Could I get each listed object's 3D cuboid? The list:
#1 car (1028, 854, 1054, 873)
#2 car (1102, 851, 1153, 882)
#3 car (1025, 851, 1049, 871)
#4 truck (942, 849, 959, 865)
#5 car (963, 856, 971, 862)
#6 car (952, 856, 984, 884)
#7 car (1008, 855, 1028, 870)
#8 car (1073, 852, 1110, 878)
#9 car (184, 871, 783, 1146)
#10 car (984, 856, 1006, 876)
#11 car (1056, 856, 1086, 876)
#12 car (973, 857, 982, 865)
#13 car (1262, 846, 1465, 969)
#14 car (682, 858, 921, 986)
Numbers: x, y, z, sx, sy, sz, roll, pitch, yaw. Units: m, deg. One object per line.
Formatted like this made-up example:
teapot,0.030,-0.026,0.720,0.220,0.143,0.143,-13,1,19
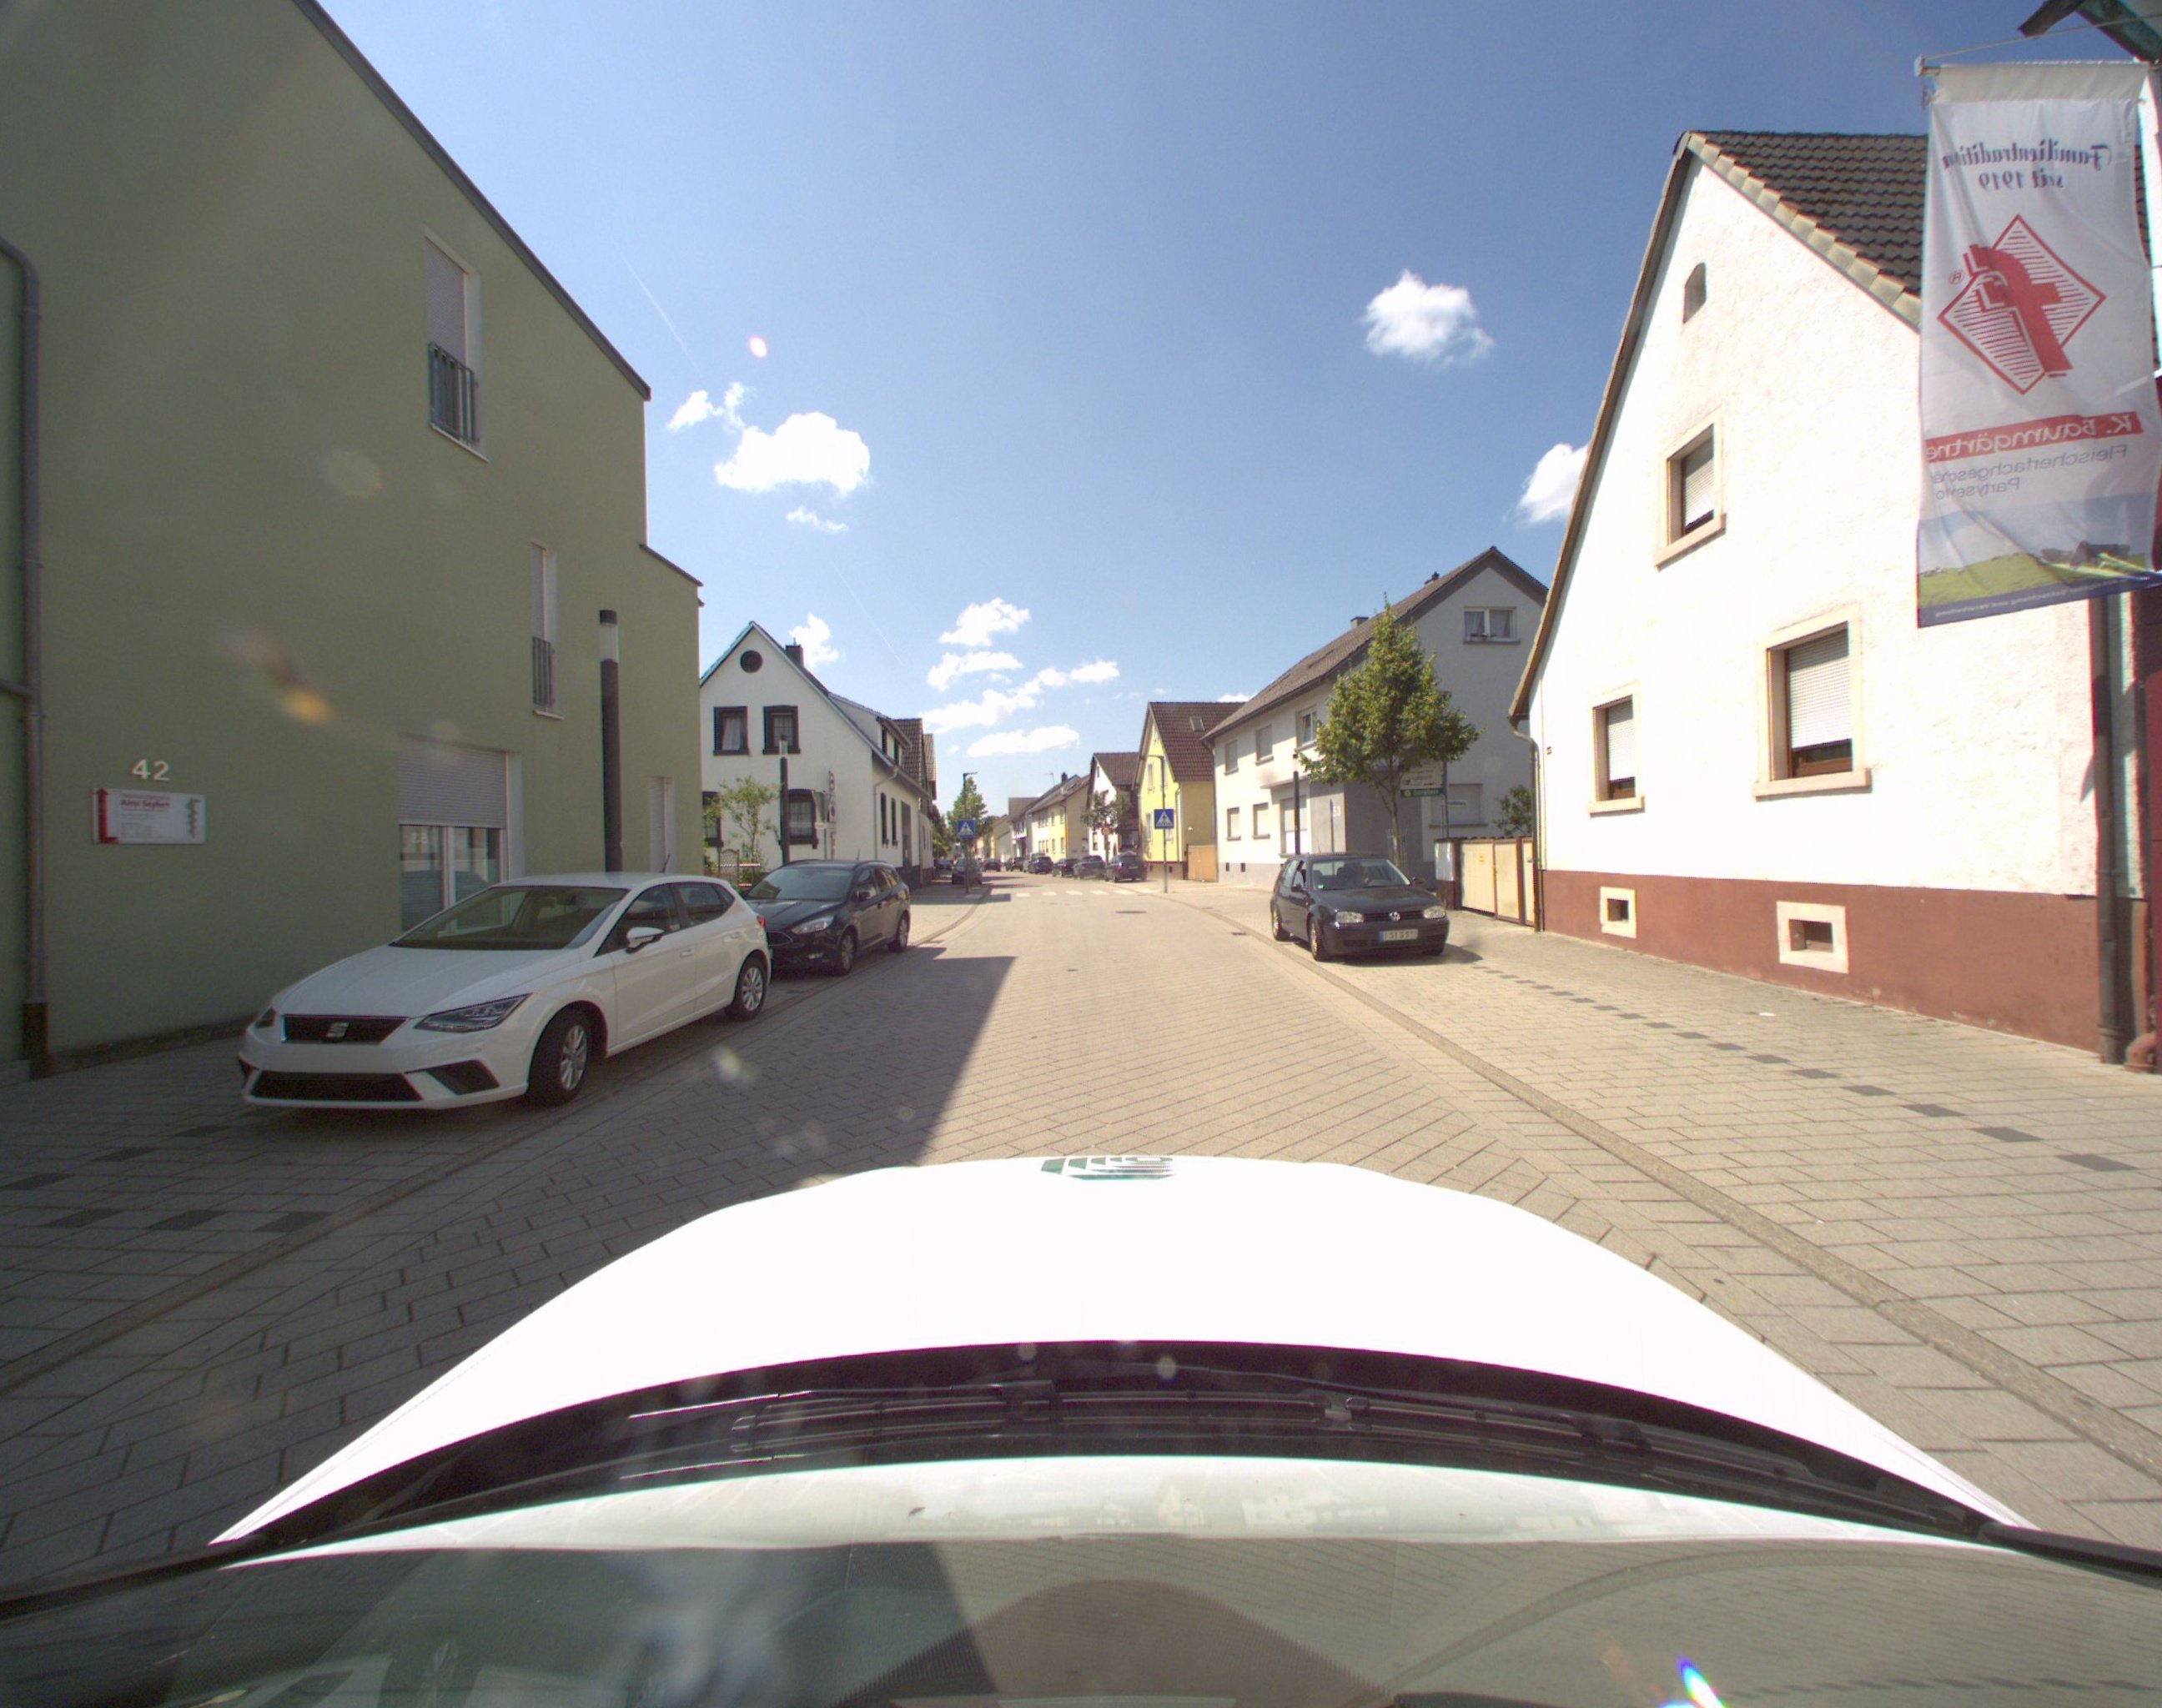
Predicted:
car,-3.691,0.834,74.765,1.877,1.591,3.987,-2,0,-9
car,2.461,0.662,44.380,1.829,1.471,4.262,-4,0,-9
car,-4.369,0.679,80.366,1.906,1.871,3.987,-2,0,-9
truck,-32.721,0.712,203.854,3.567,3.953,8.546,-2,0,-12
car,-28.186,1.225,200.467,1.689,1.452,3.778,-2,0,-11
car,-6.759,0.927,48.883,1.745,1.530,3.991,-1,0,-6
car,-6.916,0.931,89.142,1.754,1.493,3.987,-2,0,-9
car,0.646,0.700,53.837,1.846,1.562,3.682,-2,0,-9
car,-4.047,0.894,6.469,1.750,1.411,3.881,0,0,3
car,-9.308,1.231,87.981,1.993,2.057,4.359,-2,0,-10
car,-0.764,0.869,61.216,1.710,1.387,3.694,-2,0,-9
car,-19.603,1.282,154.232,1.687,1.452,3.781,-2,0,-9
car,3.959,0.651,12.157,1.752,1.438,4.123,-3,0,3
car,-3.775,0.820,11.890,1.806,1.490,4.281,0,0,3
